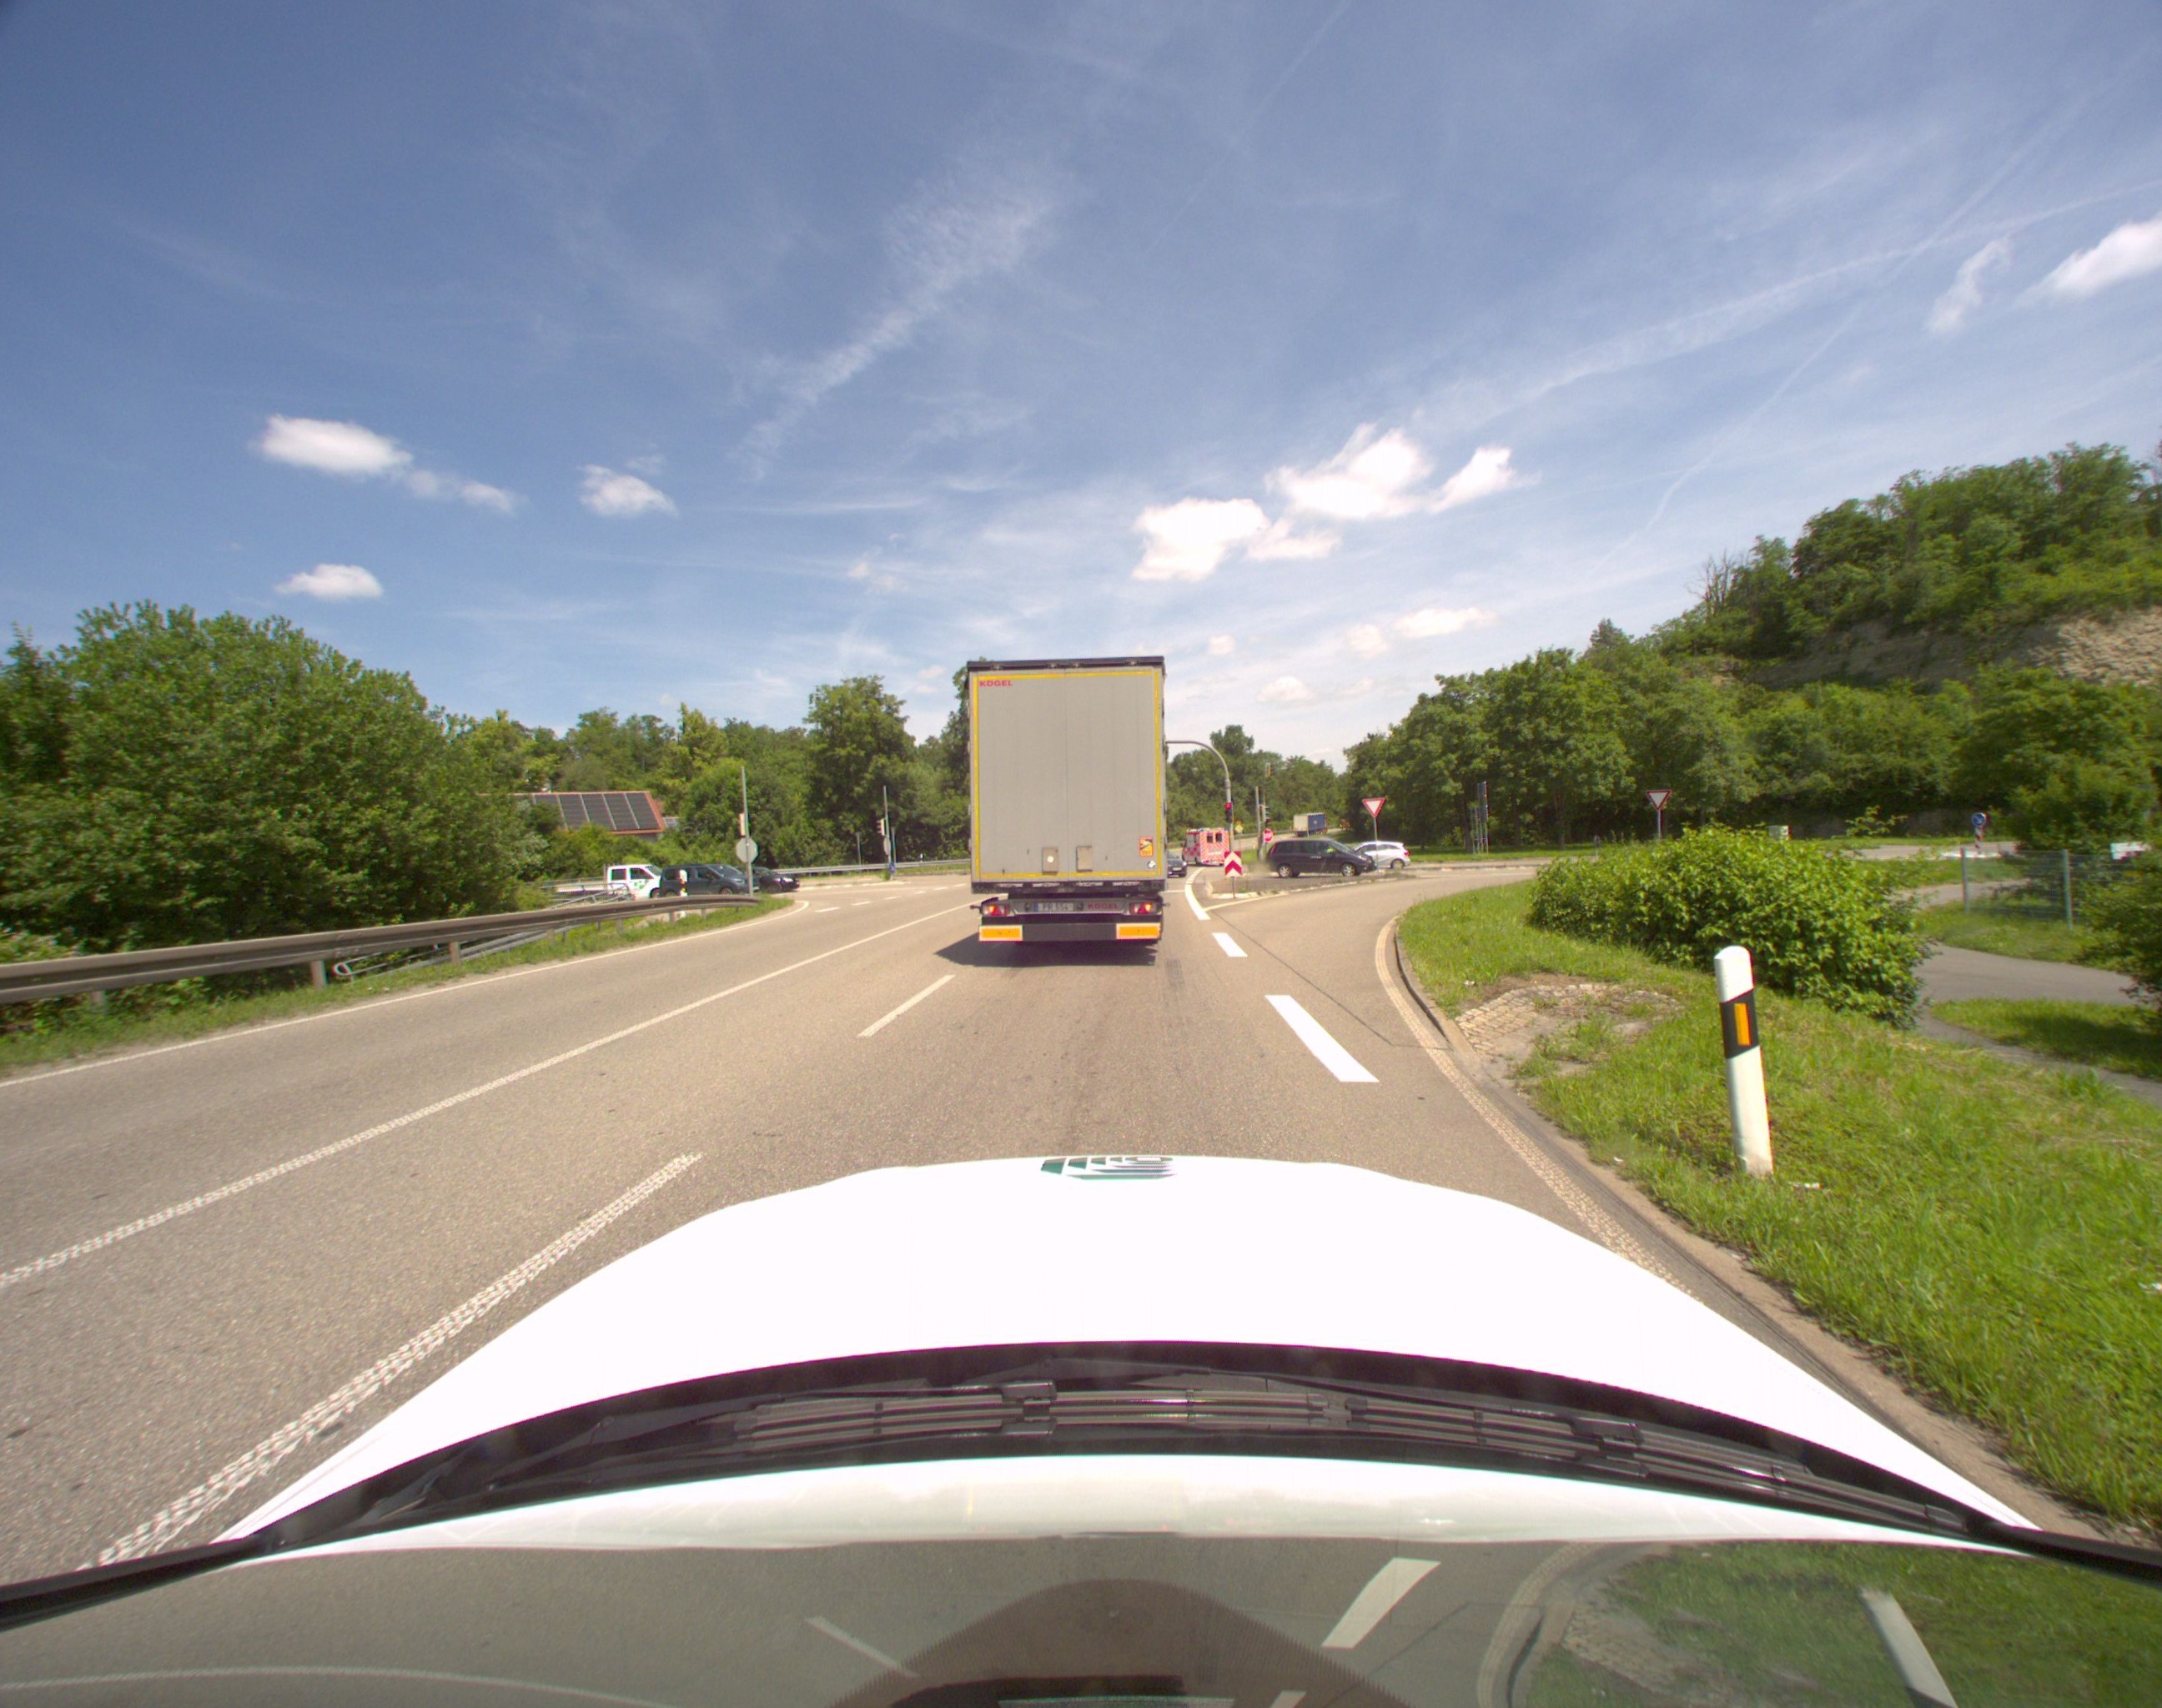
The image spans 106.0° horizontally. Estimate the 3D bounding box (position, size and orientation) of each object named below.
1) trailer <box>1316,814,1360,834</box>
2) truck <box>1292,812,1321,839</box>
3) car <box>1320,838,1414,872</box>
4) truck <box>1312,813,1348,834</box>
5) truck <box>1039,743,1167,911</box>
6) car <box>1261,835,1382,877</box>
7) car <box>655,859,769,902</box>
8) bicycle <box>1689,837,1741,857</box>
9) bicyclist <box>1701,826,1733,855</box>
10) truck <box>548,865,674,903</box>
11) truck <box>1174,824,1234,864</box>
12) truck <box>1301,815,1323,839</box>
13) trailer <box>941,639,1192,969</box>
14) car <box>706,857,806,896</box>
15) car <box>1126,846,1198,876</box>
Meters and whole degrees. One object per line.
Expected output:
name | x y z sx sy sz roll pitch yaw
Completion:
trailer | 60.493 -7.102 191.137 4.963 4.362 20.971 -1 1 31
truck | 40.968 -5.128 147.722 3.150 4.030 11.810 -1 -2 25
car | 15.221 0.072 43.490 4.404 1.718 2.004 -1 -2 7
truck | 56.417 -6.869 184.239 4.963 4.362 11.840 -1 1 31
truck | 0.787 -0.664 23.189 3.024 4.033 6.637 -1 0 4
car | 10.823 0.134 36.789 4.879 1.785 2.012 -1 -2 29
car | -16.590 1.185 36.699 4.205 1.770 2.006 -2 -1 11
bicycle | 32.358 -0.365 41.580 1.982 0.995 0.797 0 -2 -1
bicyclist | 32.477 -0.670 41.579 1.002 1.448 0.795 0 -2 0
truck | -22.973 1.452 40.000 4.876 1.791 2.036 0 -2 -10
truck | 8.937 -0.668 59.824 2.495 2.728 6.007 0 -2 -11
truck | 43.357 -4.964 152.798 3.140 4.005 5.847 -1 -2 25
trailer | 0.278 -0.642 16.438 3.038 4.033 12.573 -1 0 4
car | -16.256 1.117 40.825 4.205 1.770 2.006 -2 -1 11
car | 4.177 0.410 42.699 2.002 1.491 4.225 0 -2 -22
